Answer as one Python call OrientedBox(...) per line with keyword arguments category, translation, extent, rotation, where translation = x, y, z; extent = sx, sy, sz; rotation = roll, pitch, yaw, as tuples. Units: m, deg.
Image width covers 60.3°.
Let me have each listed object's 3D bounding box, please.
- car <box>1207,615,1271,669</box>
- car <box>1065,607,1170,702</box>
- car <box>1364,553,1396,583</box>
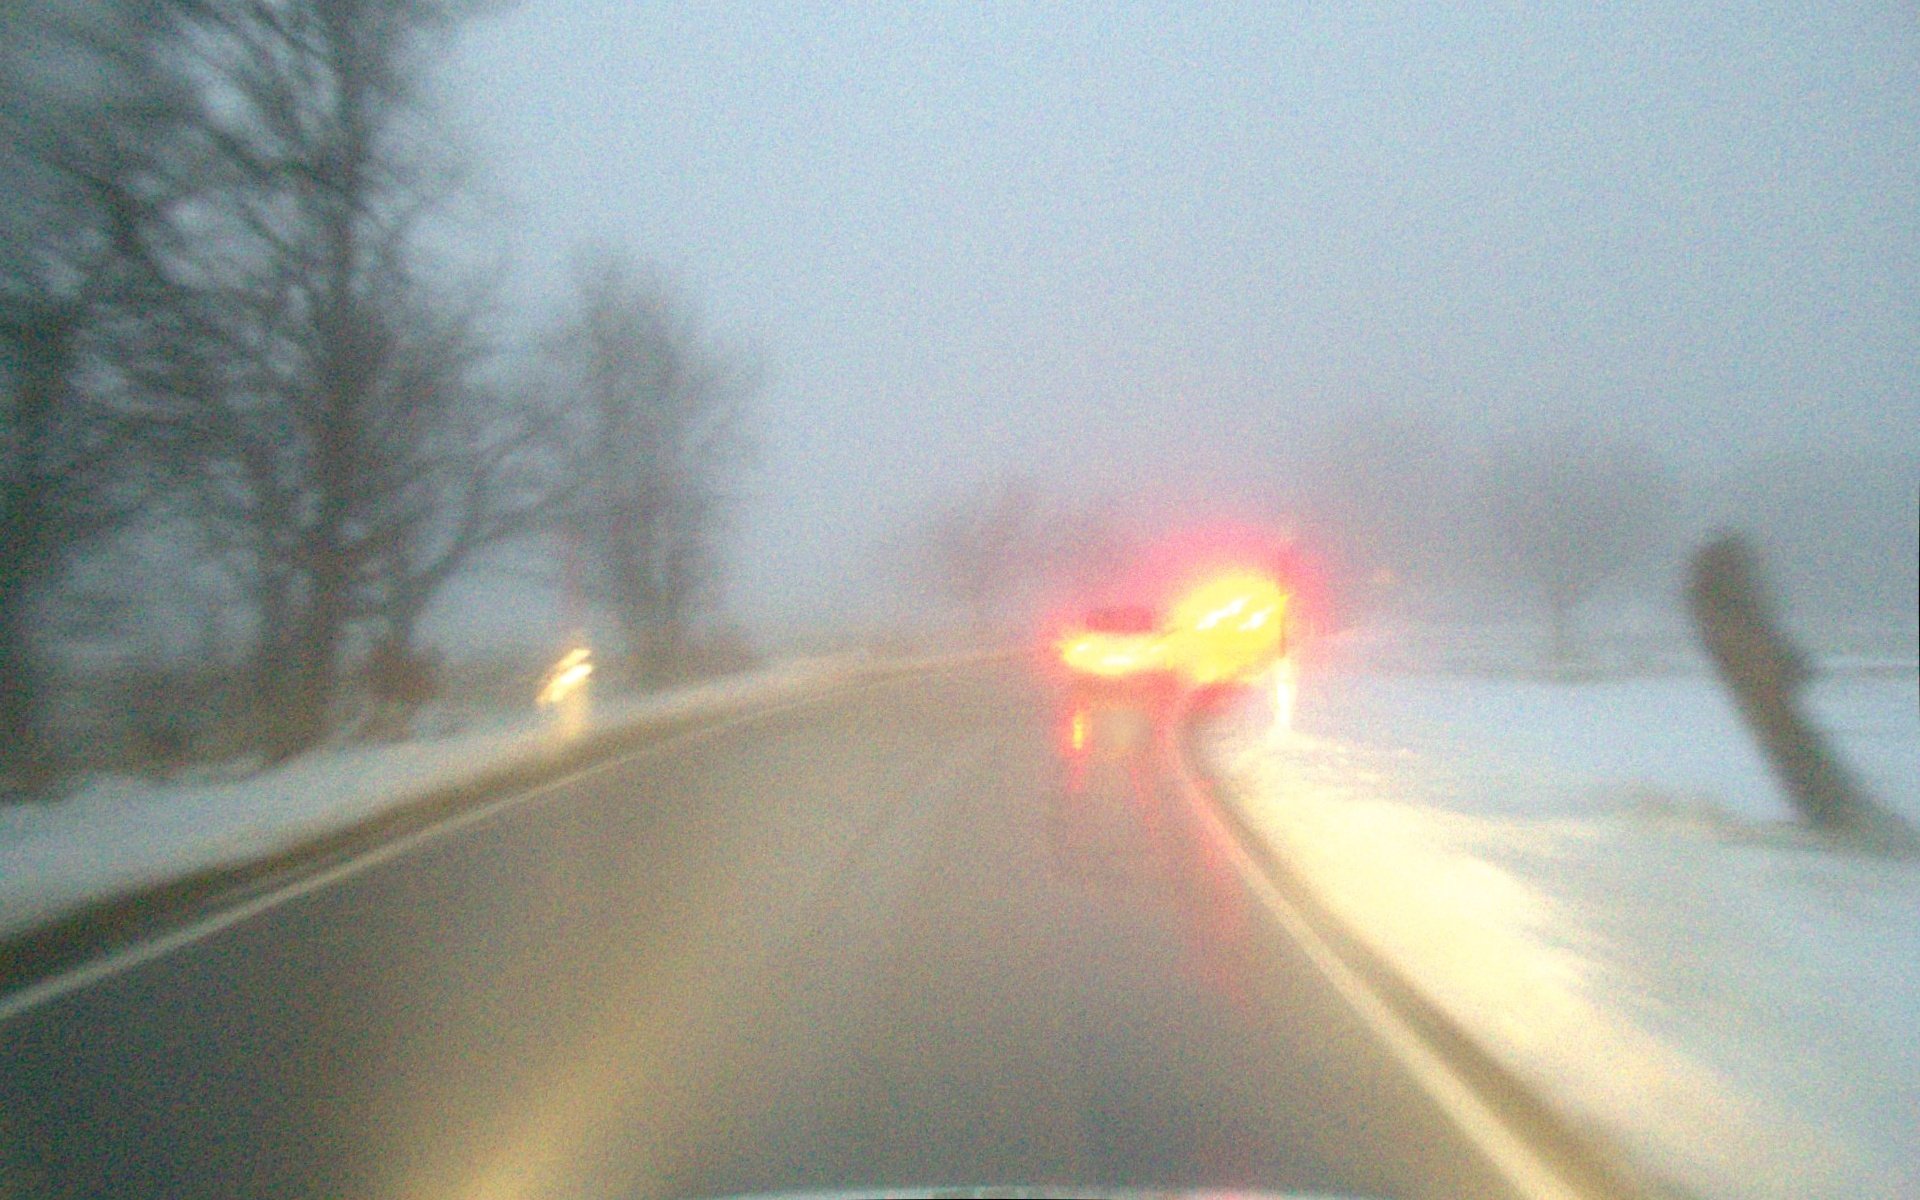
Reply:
OrientedBox(category="car", translation=(8.367, 1.235, 49.450), extent=(1.447, 1.534, 3.054), rotation=(-1, 0, 18))
OrientedBox(category="car", translation=(2.816, 0.911, 29.191), extent=(1.671, 1.489, 4.003), rotation=(2, 0, 6))
OrientedBox(category="car", translation=(23.276, -1.755, 91.603), extent=(1.490, 1.534, 3.054), rotation=(-1, -1, 18))
